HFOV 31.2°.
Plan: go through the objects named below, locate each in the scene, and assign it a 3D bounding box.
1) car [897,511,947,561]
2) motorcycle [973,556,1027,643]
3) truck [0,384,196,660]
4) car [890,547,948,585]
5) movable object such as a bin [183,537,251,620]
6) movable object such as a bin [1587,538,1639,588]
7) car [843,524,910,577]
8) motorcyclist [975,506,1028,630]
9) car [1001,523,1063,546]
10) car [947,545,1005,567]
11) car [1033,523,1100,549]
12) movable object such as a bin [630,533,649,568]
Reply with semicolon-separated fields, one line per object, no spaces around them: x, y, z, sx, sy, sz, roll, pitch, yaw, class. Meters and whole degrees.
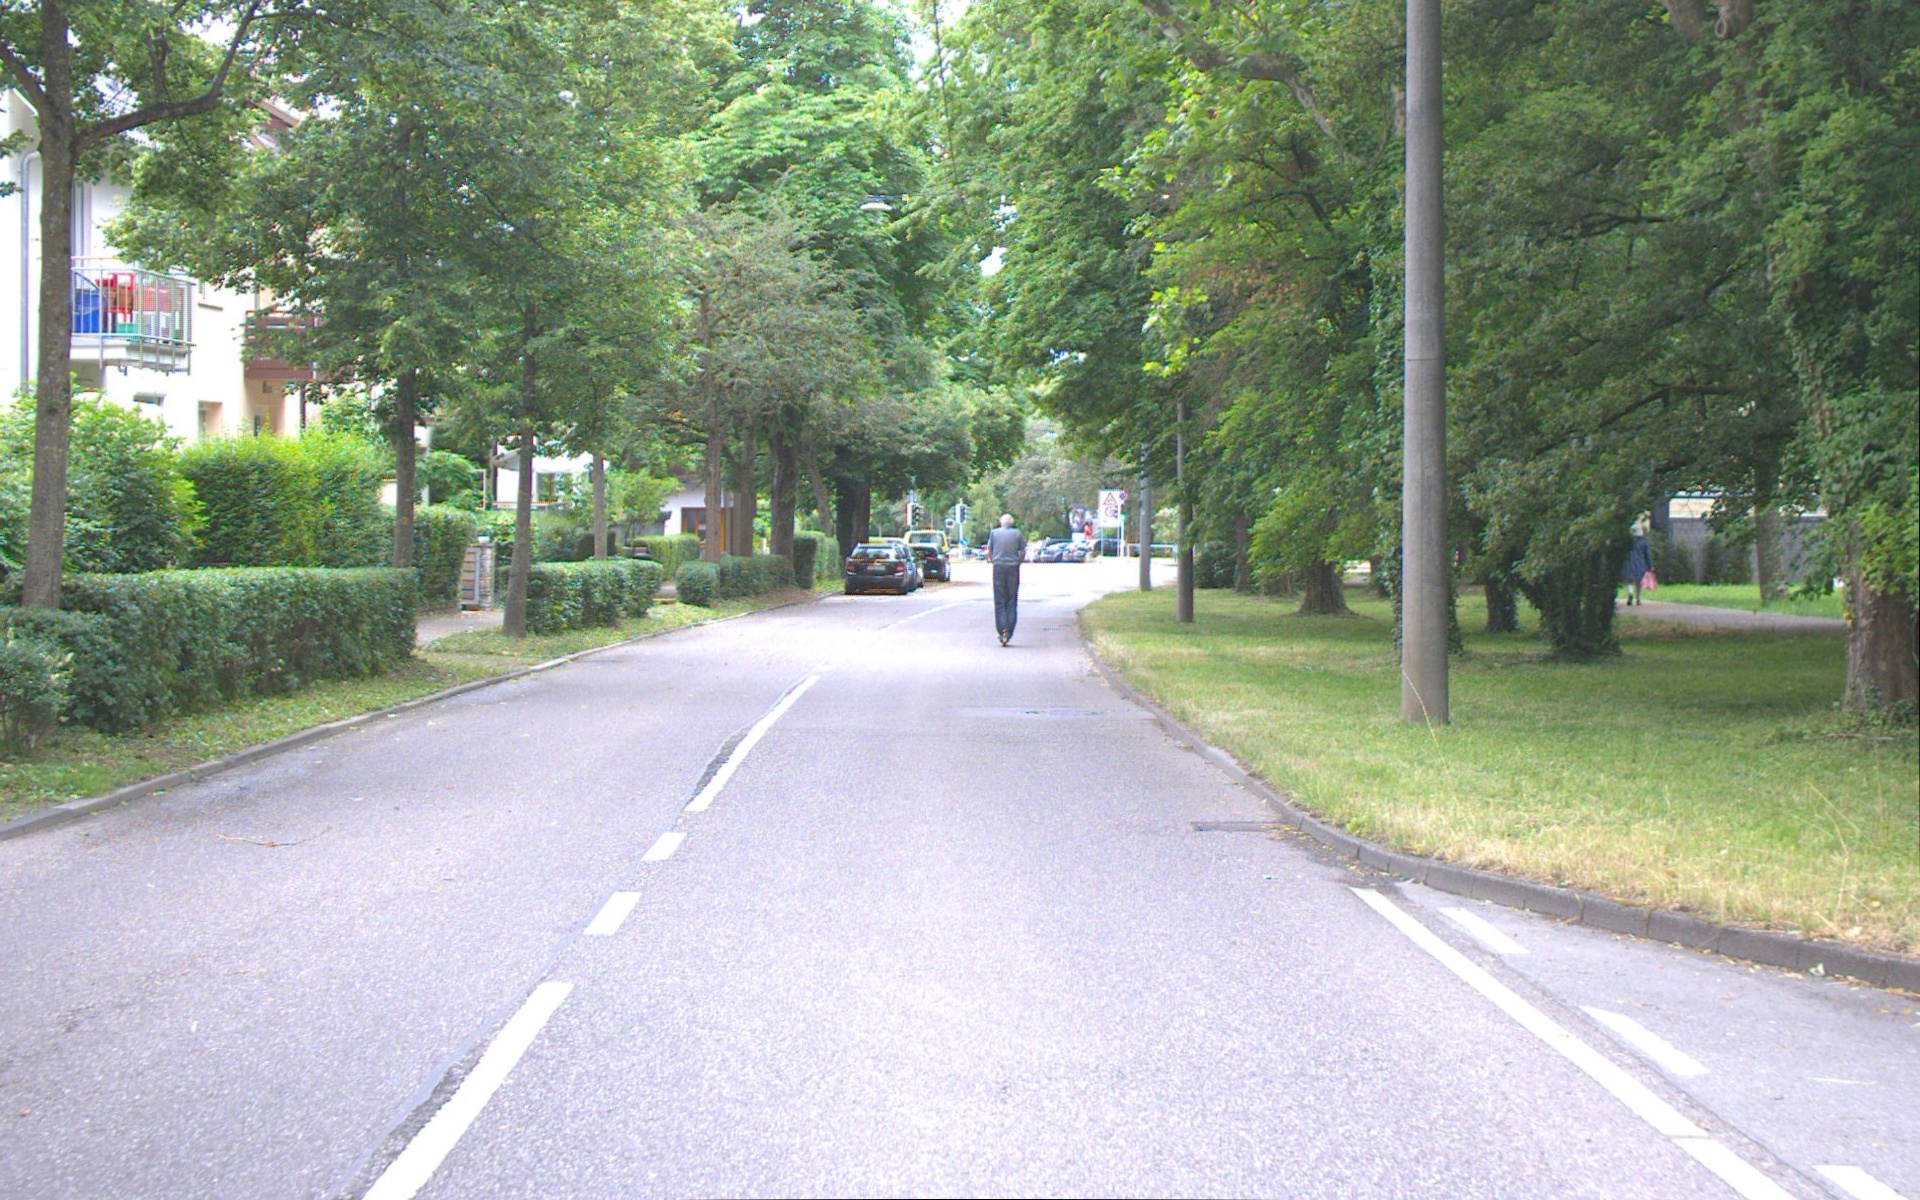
-1.563;-2.598;139.832;1.857;1.957;4.505;0;0;-3;car
0.573;-0.016;49.068;0.673;1.213;1.273;2;1;4;motorcycle
-12.159;-0.938;40.366;5.795;3.120;2.518;1;1;-1;truck
-1.522;-1.260;128.971;1.892;1.405;4.553;0;0;3;car
-8.395;-0.249;38.879;0.580;0.923;0.693;-1;1;3;movable object such as a bin
19.963;-1.127;105.197;1.326;1.496;1.314;-1;1;0;movable object such as a bin
-2.353;-1.411;97.683;1.794;1.467;4.418;0;1;0;car
0.603;-0.463;49.322;0.673;1.755;0.639;2;1;4;motorcyclist
4.630;-4.237;222.344;3.987;1.505;1.800;0;1;0;car
1.121;-3.055;237.324;3.987;1.505;1.800;0;1;0;car
6.474;-3.895;209.626;3.987;1.505;1.800;0;1;0;car
-8.313;-1.287;89.235;0.456;0.912;0.508;-1;1;-4;movable object such as a bin
